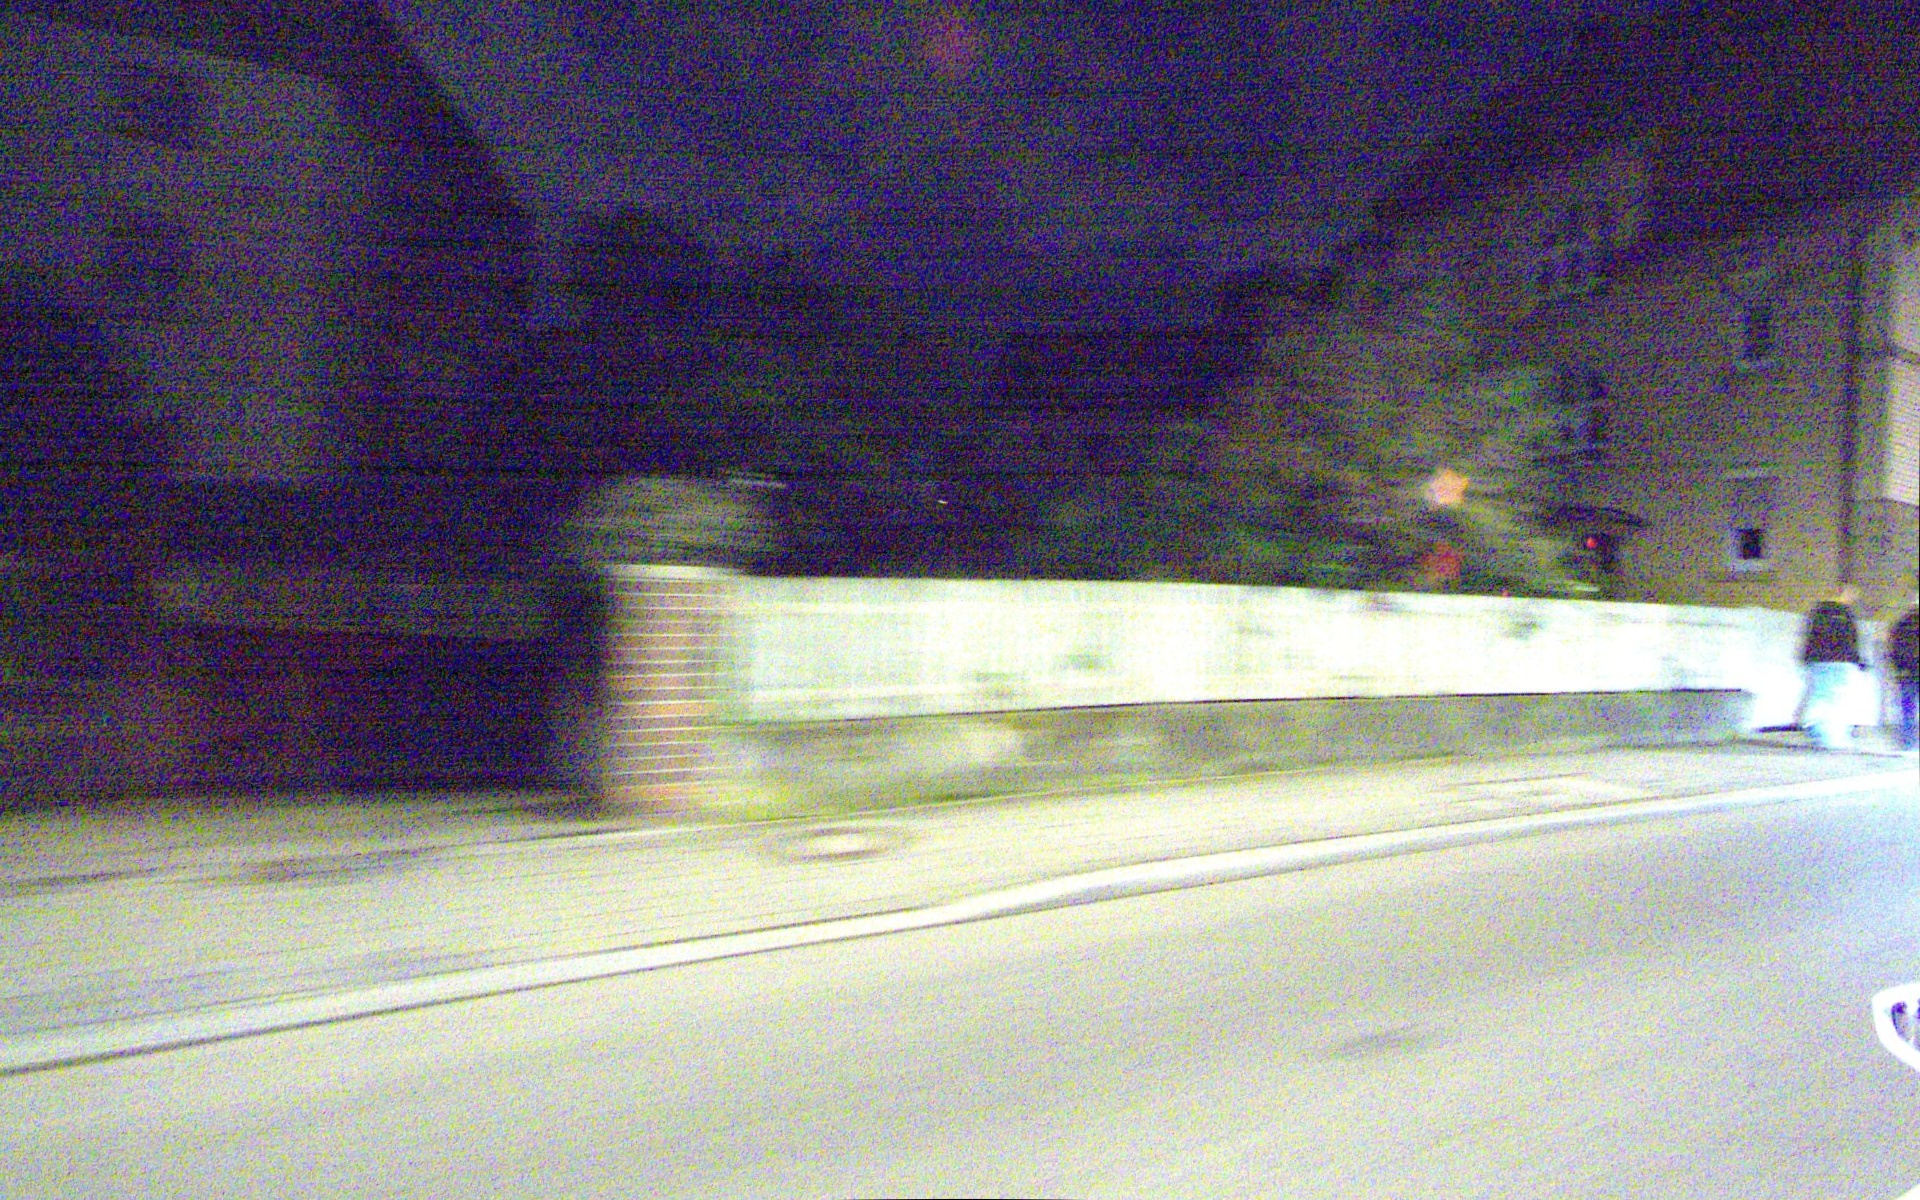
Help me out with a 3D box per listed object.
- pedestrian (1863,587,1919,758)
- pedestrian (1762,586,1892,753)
[{"bbox_3d":[10.311,0.763,10.717,1.016,1.768,0.672,2,0,-28],"label":"pedestrian"},{"bbox_3d":[9.714,0.753,11.261,1.089,1.768,0.739,2,0,-28],"label":"pedestrian"}]
